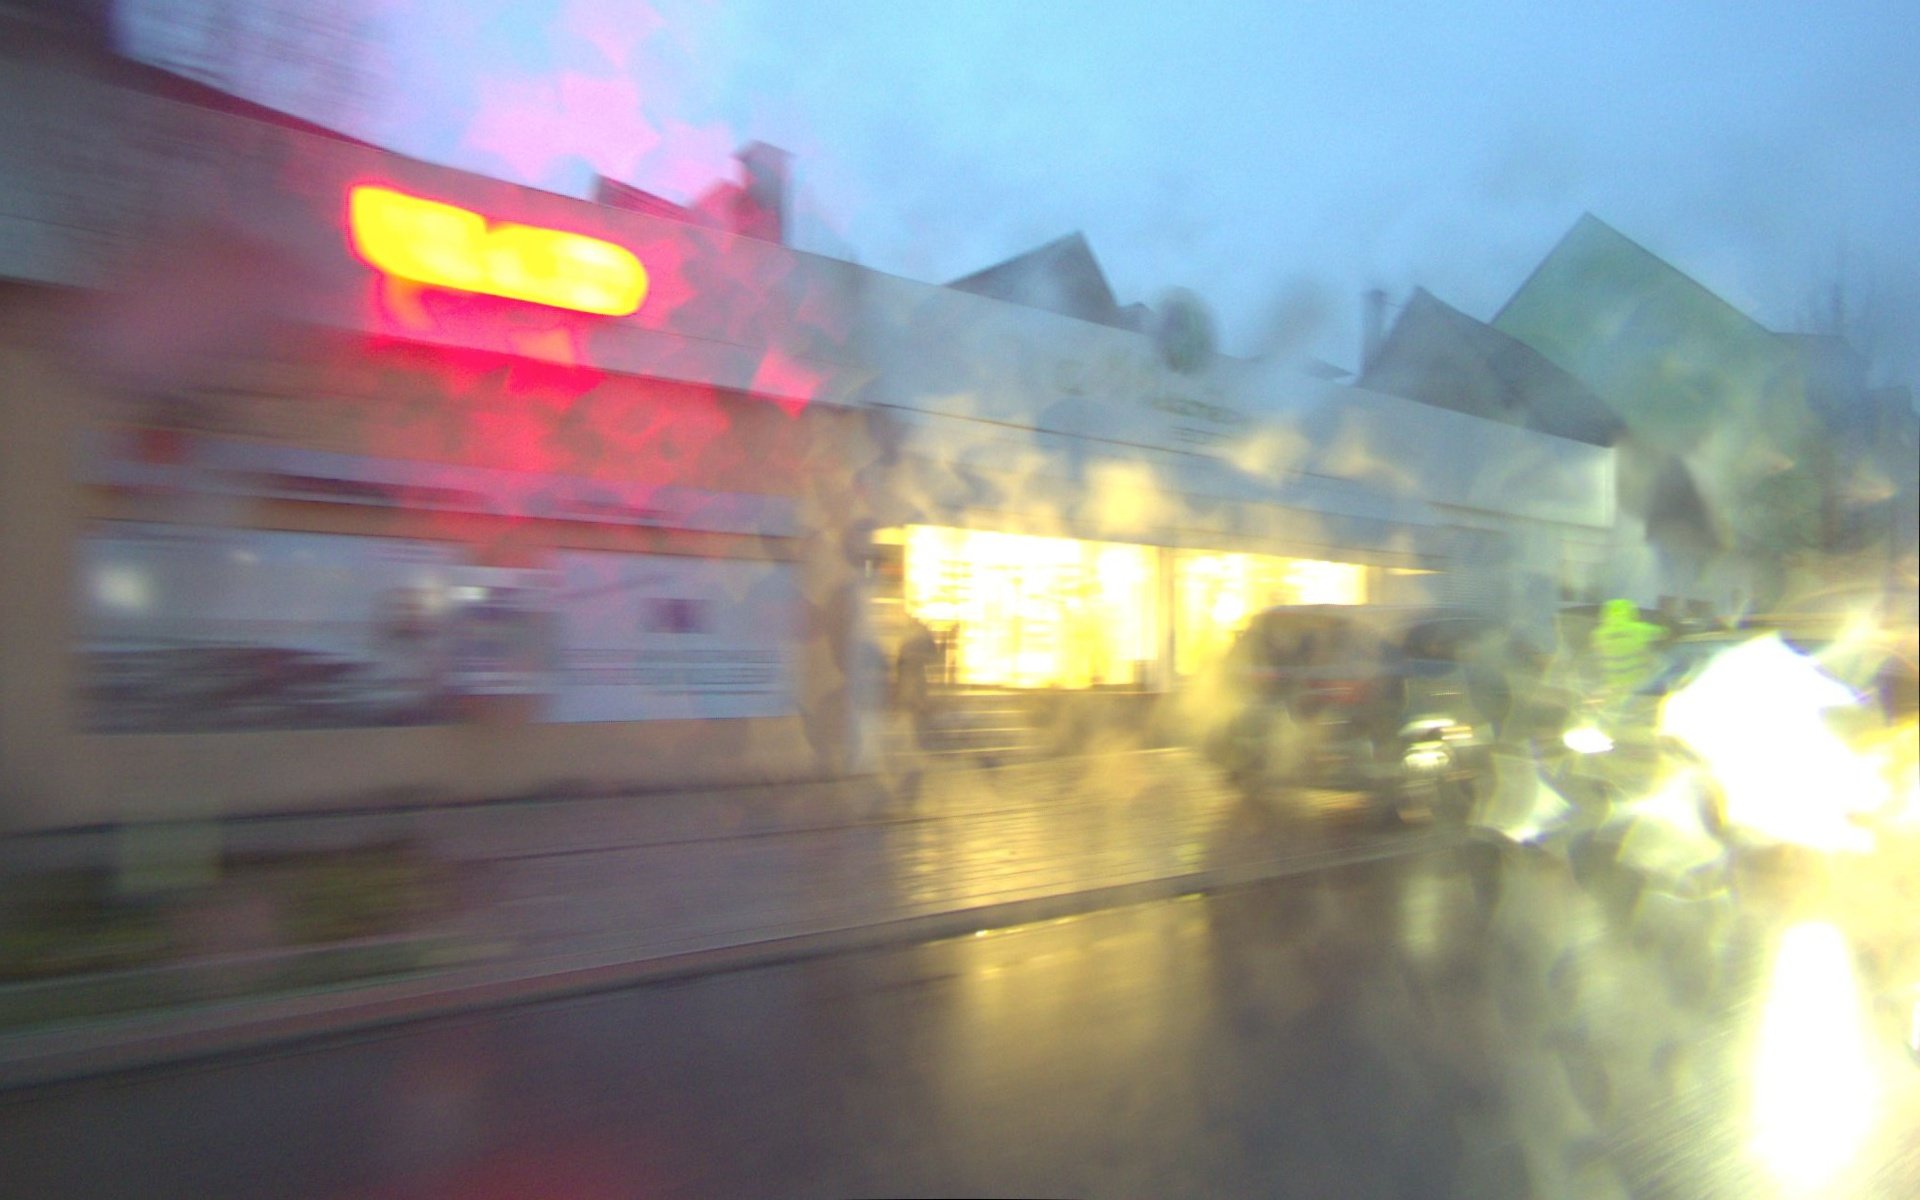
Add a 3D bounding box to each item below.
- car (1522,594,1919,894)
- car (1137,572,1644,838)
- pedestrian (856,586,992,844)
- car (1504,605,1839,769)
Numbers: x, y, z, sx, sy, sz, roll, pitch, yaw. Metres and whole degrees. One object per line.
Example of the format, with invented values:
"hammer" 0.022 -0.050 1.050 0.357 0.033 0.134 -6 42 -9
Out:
"car" 6.821 0.836 8.110 4.914 1.729 1.981 0 2 -34
"car" 4.108 0.753 9.204 4.976 1.816 2.071 1 -1 -36
"pedestrian" -0.312 0.863 7.999 0.926 1.901 1.010 1 -1 -11
"car" 9.110 0.978 12.748 4.661 1.733 1.870 1 -1 -33
